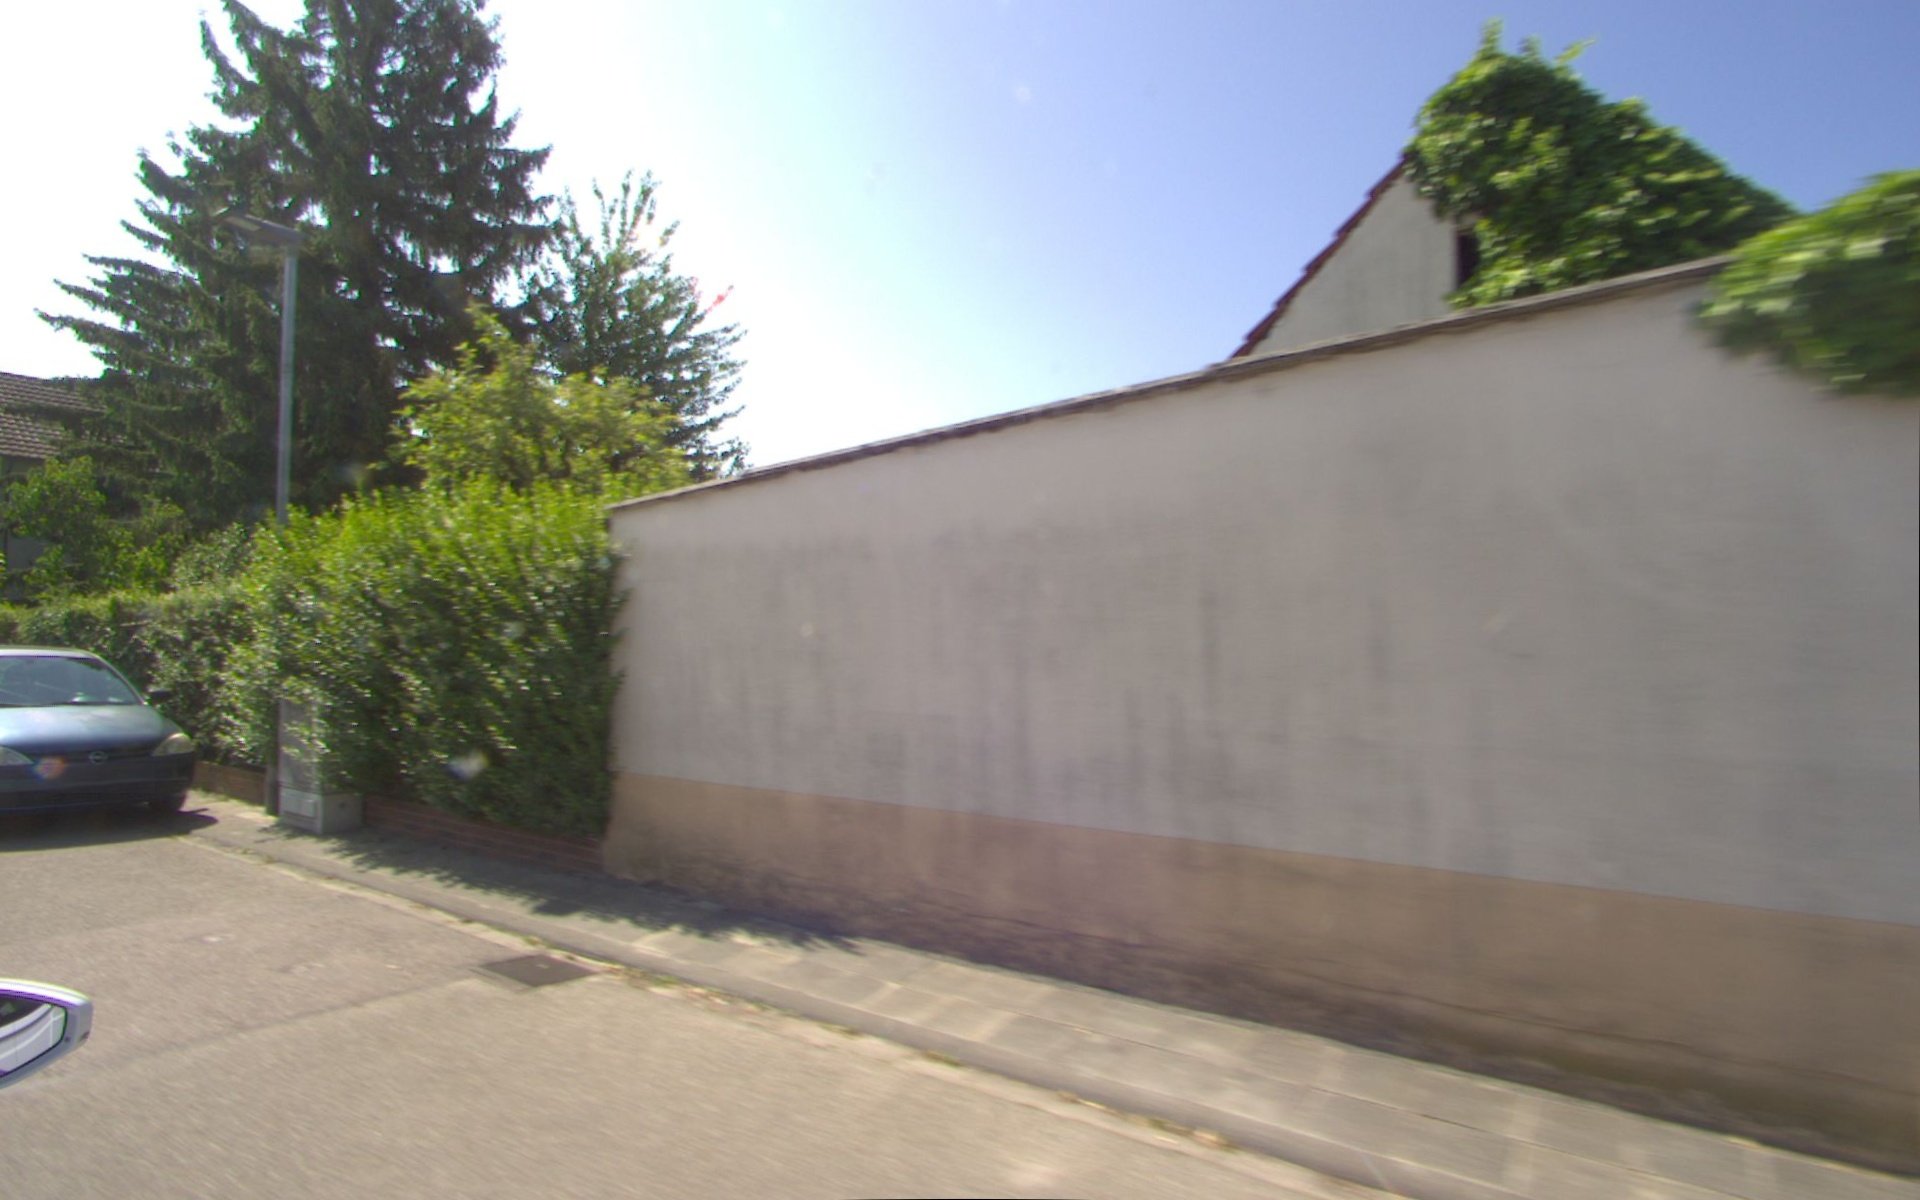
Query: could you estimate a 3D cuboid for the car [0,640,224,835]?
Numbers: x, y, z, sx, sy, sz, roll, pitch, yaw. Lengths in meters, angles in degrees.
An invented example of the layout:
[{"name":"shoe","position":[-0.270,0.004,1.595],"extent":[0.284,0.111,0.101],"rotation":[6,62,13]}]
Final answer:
[{"name":"car","position":[-8.340,1.064,8.825],"extent":[3.945,1.417,1.700],"rotation":[-1,-4,34]}]
